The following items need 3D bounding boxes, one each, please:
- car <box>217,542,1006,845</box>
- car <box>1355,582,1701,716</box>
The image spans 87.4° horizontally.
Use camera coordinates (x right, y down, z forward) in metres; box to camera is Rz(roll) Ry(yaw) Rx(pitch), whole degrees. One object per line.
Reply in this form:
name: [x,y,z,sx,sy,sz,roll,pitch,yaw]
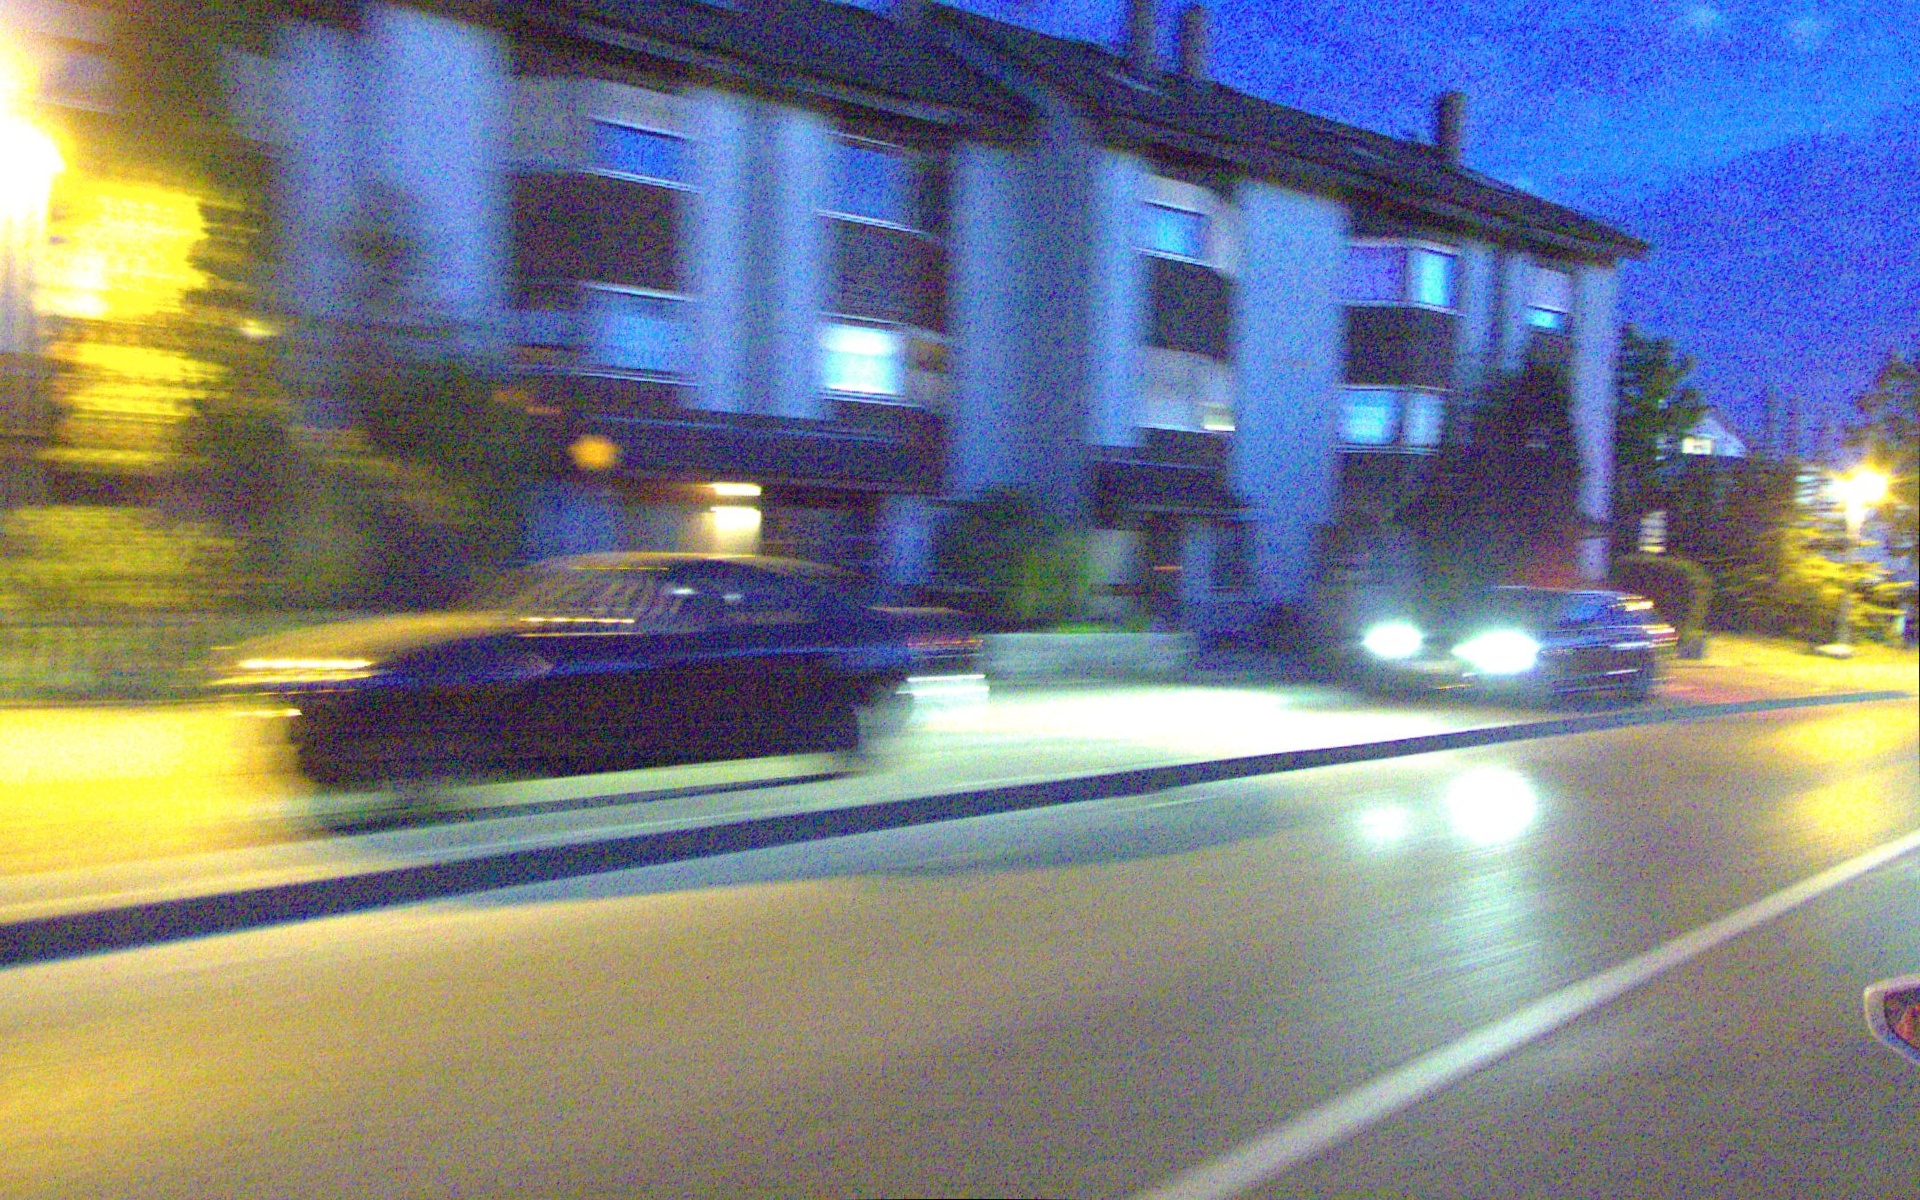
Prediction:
car: [-2.103,0.432,6.745,4.552,1.398,1.980,1,2,-35]
car: [7.590,0.578,13.287,4.861,1.464,1.839,1,1,-32]
